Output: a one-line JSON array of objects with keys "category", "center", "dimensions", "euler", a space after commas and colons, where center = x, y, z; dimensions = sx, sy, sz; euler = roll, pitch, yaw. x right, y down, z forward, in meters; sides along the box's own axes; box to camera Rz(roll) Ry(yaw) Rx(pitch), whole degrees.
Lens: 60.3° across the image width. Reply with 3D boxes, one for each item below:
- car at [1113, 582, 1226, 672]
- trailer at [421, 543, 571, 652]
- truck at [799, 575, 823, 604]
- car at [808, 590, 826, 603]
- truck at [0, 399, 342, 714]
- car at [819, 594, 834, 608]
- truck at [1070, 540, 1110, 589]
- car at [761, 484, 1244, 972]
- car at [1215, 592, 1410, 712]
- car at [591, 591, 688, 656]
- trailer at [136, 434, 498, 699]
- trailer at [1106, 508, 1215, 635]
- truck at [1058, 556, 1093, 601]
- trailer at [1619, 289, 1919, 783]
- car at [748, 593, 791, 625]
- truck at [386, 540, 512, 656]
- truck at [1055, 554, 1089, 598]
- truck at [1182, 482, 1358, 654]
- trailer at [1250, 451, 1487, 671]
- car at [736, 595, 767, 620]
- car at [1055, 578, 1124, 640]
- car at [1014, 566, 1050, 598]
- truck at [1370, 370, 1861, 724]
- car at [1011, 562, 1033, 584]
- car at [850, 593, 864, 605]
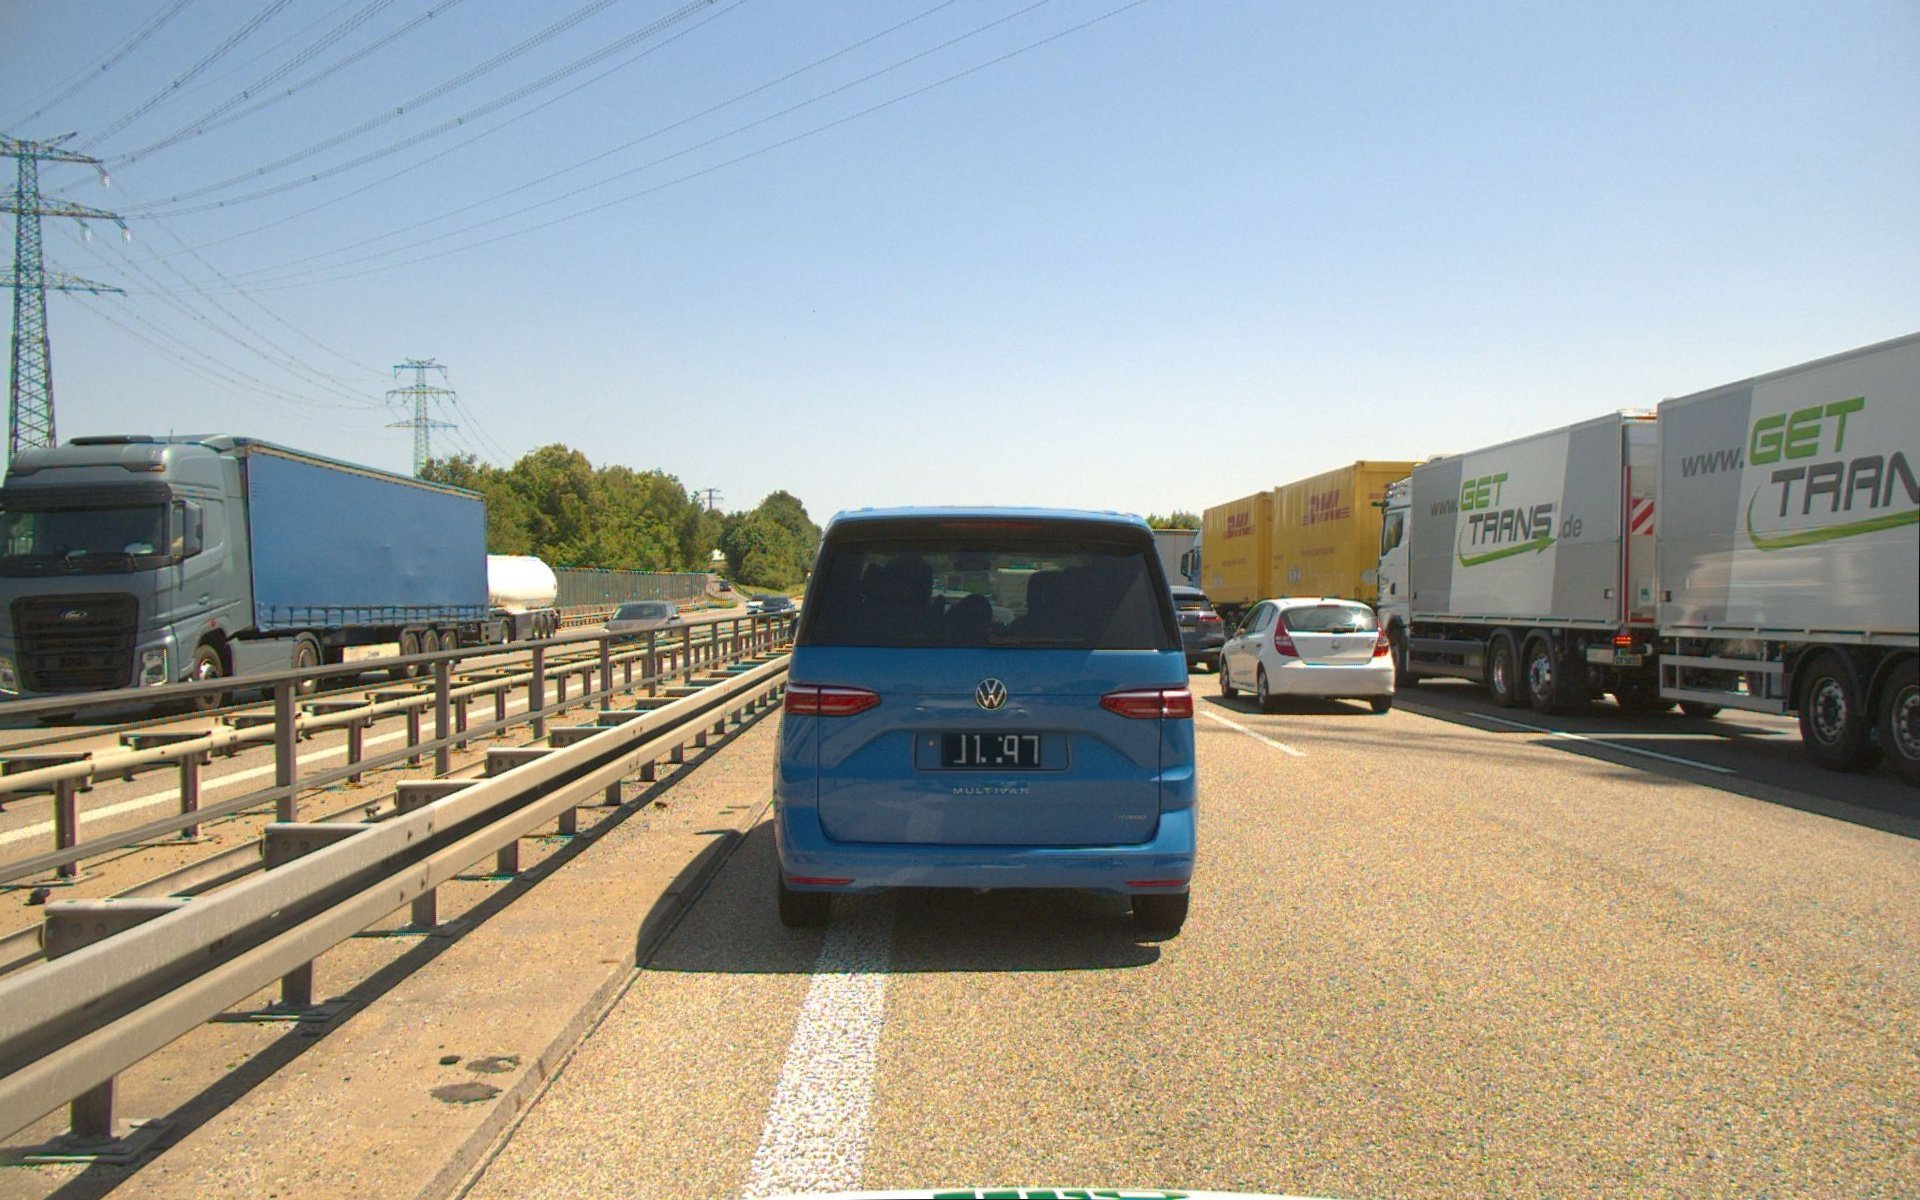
[{"category": "car", "center": [4.256, 0.535, 34.116], "dimensions": [1.778, 1.708, 3.931], "euler": [1, 0, -1]}, {"category": "trailer", "center": [-16.857, -0.039, 60.974], "dimensions": [2.447, 3.602, 10.902], "euler": [-1, 0, 0]}, {"category": "truck", "center": [-23.177, -1.621, 256.827], "dimensions": [2.869, 4.368, 6.857], "euler": [-3, 0, 0]}, {"category": "car", "center": [-17.144, -0.438, 197.925], "dimensions": [1.834, 1.467, 4.384], "euler": [-2, 0, -1]}, {"category": "truck", "center": [-11.935, -0.564, 25.252], "dimensions": [2.697, 4.188, 6.263], "euler": [-1, 0, -1]}, {"category": "car", "center": [-18.538, 0.146, 229.827], "dimensions": [1.802, 1.854, 4.746], "euler": [-1, 0, -2]}, {"category": "truck", "center": [7.085, -1.912, 90.316], "dimensions": [1.761, 2.492, 4.503], "euler": [1, 0, 0]}, {"category": "car", "center": [0.147, 0.524, 8.580], "dimensions": [1.891, 1.906, 3.999], "euler": [1, 0, -1]}, {"category": "car", "center": [4.823, 0.678, 23.168], "dimensions": [1.778, 1.496, 3.930], "euler": [1, 0, -2]}, {"category": "car", "center": [-8.371, 0.605, 43.488], "dimensions": [1.844, 1.579, 4.188], "euler": [1, 0, -2]}, {"category": "trailer", "center": [-12.088, -0.511, 32.789], "dimensions": [2.650, 4.238, 12.046], "euler": [-1, 0, -1]}, {"category": "trailer", "center": [8.007, -1.033, 67.430], "dimensions": [2.964, 4.692, 10.923], "euler": [1, 0, 0]}, {"category": "truck", "center": [6.912, -1.266, 99.220], "dimensions": [1.706, 2.593, 4.209], "euler": [1, 0, 0]}, {"category": "trailer", "center": [9.067, -0.481, 14.867], "dimensions": [2.840, 3.959, 8.212], "euler": [1, 0, -1]}, {"category": "car", "center": [-9.767, 0.475, 85.172], "dimensions": [1.844, 1.579, 4.188], "euler": [1, 0, -2]}, {"category": "truck", "center": [-16.821, -0.053, 54.787], "dimensions": [2.469, 3.596, 5.329], "euler": [-1, 0, 0]}, {"category": "truck", "center": [7.061, -1.497, 104.375], "dimensions": [1.760, 2.641, 4.305], "euler": [1, 0, 0]}, {"category": "truck", "center": [8.261, -0.748, 45.502], "dimensions": [2.645, 4.159, 9.936], "euler": [1, 0, -2]}, {"category": "trailer", "center": [8.590, -0.717, 36.059], "dimensions": [2.628, 4.159, 8.976], "euler": [1, 0, -2]}, {"category": "car", "center": [-14.704, 0.509, 116.835], "dimensions": [1.770, 1.668, 3.998], "euler": [-2, 0, -2]}, {"category": "car", "center": [4.286, 0.315, 55.399], "dimensions": [1.922, 1.970, 3.931], "euler": [1, 0, -1]}, {"category": "car", "center": [4.168, -1.038, 96.257], "dimensions": [1.880, 1.736, 3.999], "euler": [1, 0, -1]}, {"category": "truck", "center": [8.837, -0.570, 24.263], "dimensions": [2.794, 4.003, 10.607], "euler": [1, 0, -1]}, {"category": "car", "center": [5.521, -2.406, 148.057], "dimensions": [1.760, 1.782, 3.942], "euler": [1, 0, -1]}, {"category": "car", "center": [-15.711, -0.165, 251.740], "dimensions": [1.834, 1.556, 3.607], "euler": [-5, 0, -1]}]
